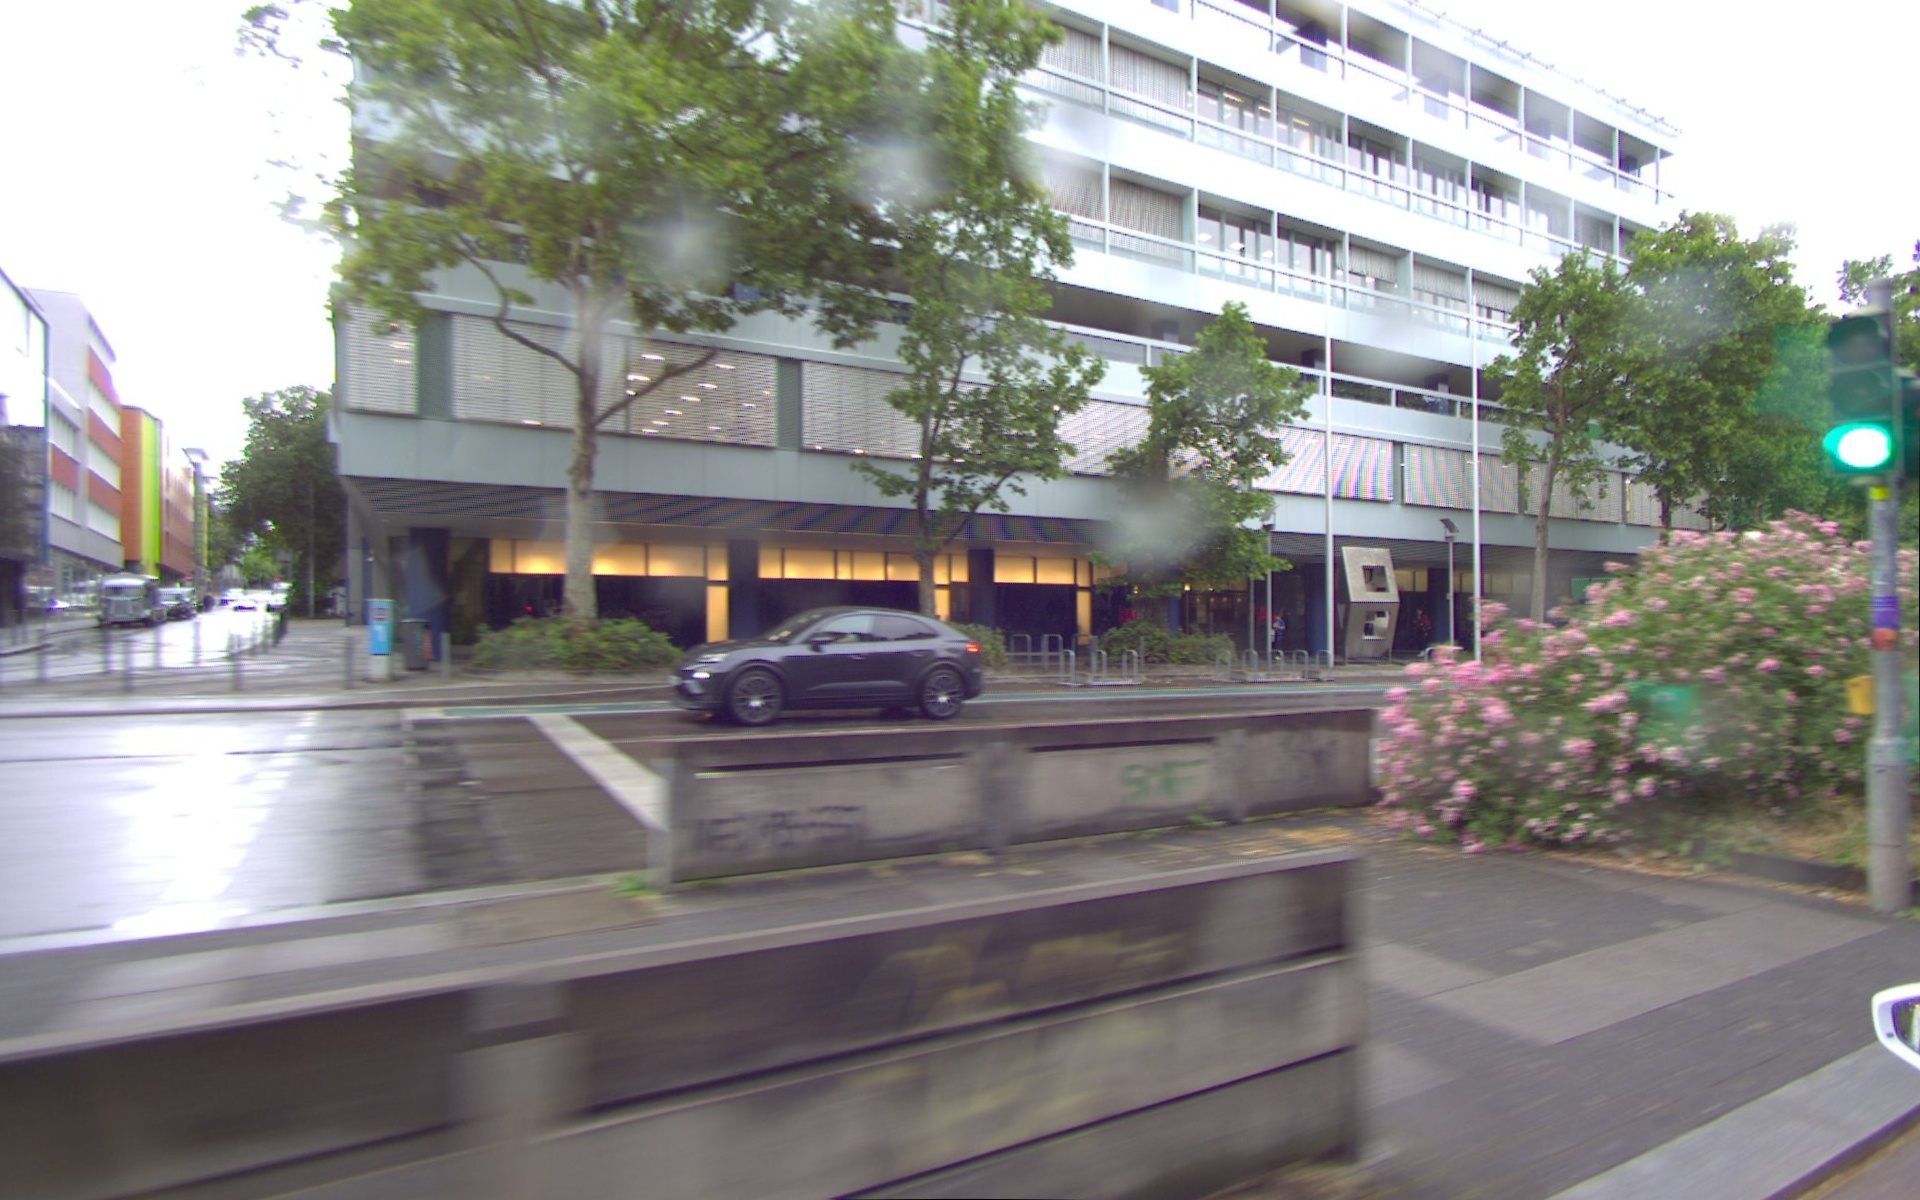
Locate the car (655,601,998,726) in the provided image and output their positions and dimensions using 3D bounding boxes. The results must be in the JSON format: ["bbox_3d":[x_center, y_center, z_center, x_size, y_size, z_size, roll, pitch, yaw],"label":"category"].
[{"bbox_3d":[-1.958,0.912,14.968,4.685,1.605,1.903,2,0,-27],"label":"car"}]

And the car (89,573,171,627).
[{"bbox_3d":[-39.562,-0.049,48.048,2.227,2.354,6.701,2,0,-33],"label":"car"}]

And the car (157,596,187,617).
[{"bbox_3d":[-47.211,0.372,60.209,1.243,1.148,2.592,2,0,-35],"label":"car"}]

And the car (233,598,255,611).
[{"bbox_3d":[-89.140,0.556,125.153,1.978,1.528,3.964,2,0,-32],"label":"car"}]

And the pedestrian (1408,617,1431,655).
[{"bbox_3d":[18.807,1.466,41.088,0.569,1.502,0.606,2,0,-33],"label":"pedestrian"}]

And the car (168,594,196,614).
[{"bbox_3d":[-50.037,0.249,64.648,1.275,1.148,2.655,2,0,-35],"label":"car"}]

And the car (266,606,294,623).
[{"bbox_3d":[-64.824,1.368,95.794,1.978,1.528,3.964,2,0,-32],"label":"car"}]

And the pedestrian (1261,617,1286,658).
[{"bbox_3d":[11.031,1.325,35.369,0.469,1.398,0.634,2,0,-33],"label":"pedestrian"}]
